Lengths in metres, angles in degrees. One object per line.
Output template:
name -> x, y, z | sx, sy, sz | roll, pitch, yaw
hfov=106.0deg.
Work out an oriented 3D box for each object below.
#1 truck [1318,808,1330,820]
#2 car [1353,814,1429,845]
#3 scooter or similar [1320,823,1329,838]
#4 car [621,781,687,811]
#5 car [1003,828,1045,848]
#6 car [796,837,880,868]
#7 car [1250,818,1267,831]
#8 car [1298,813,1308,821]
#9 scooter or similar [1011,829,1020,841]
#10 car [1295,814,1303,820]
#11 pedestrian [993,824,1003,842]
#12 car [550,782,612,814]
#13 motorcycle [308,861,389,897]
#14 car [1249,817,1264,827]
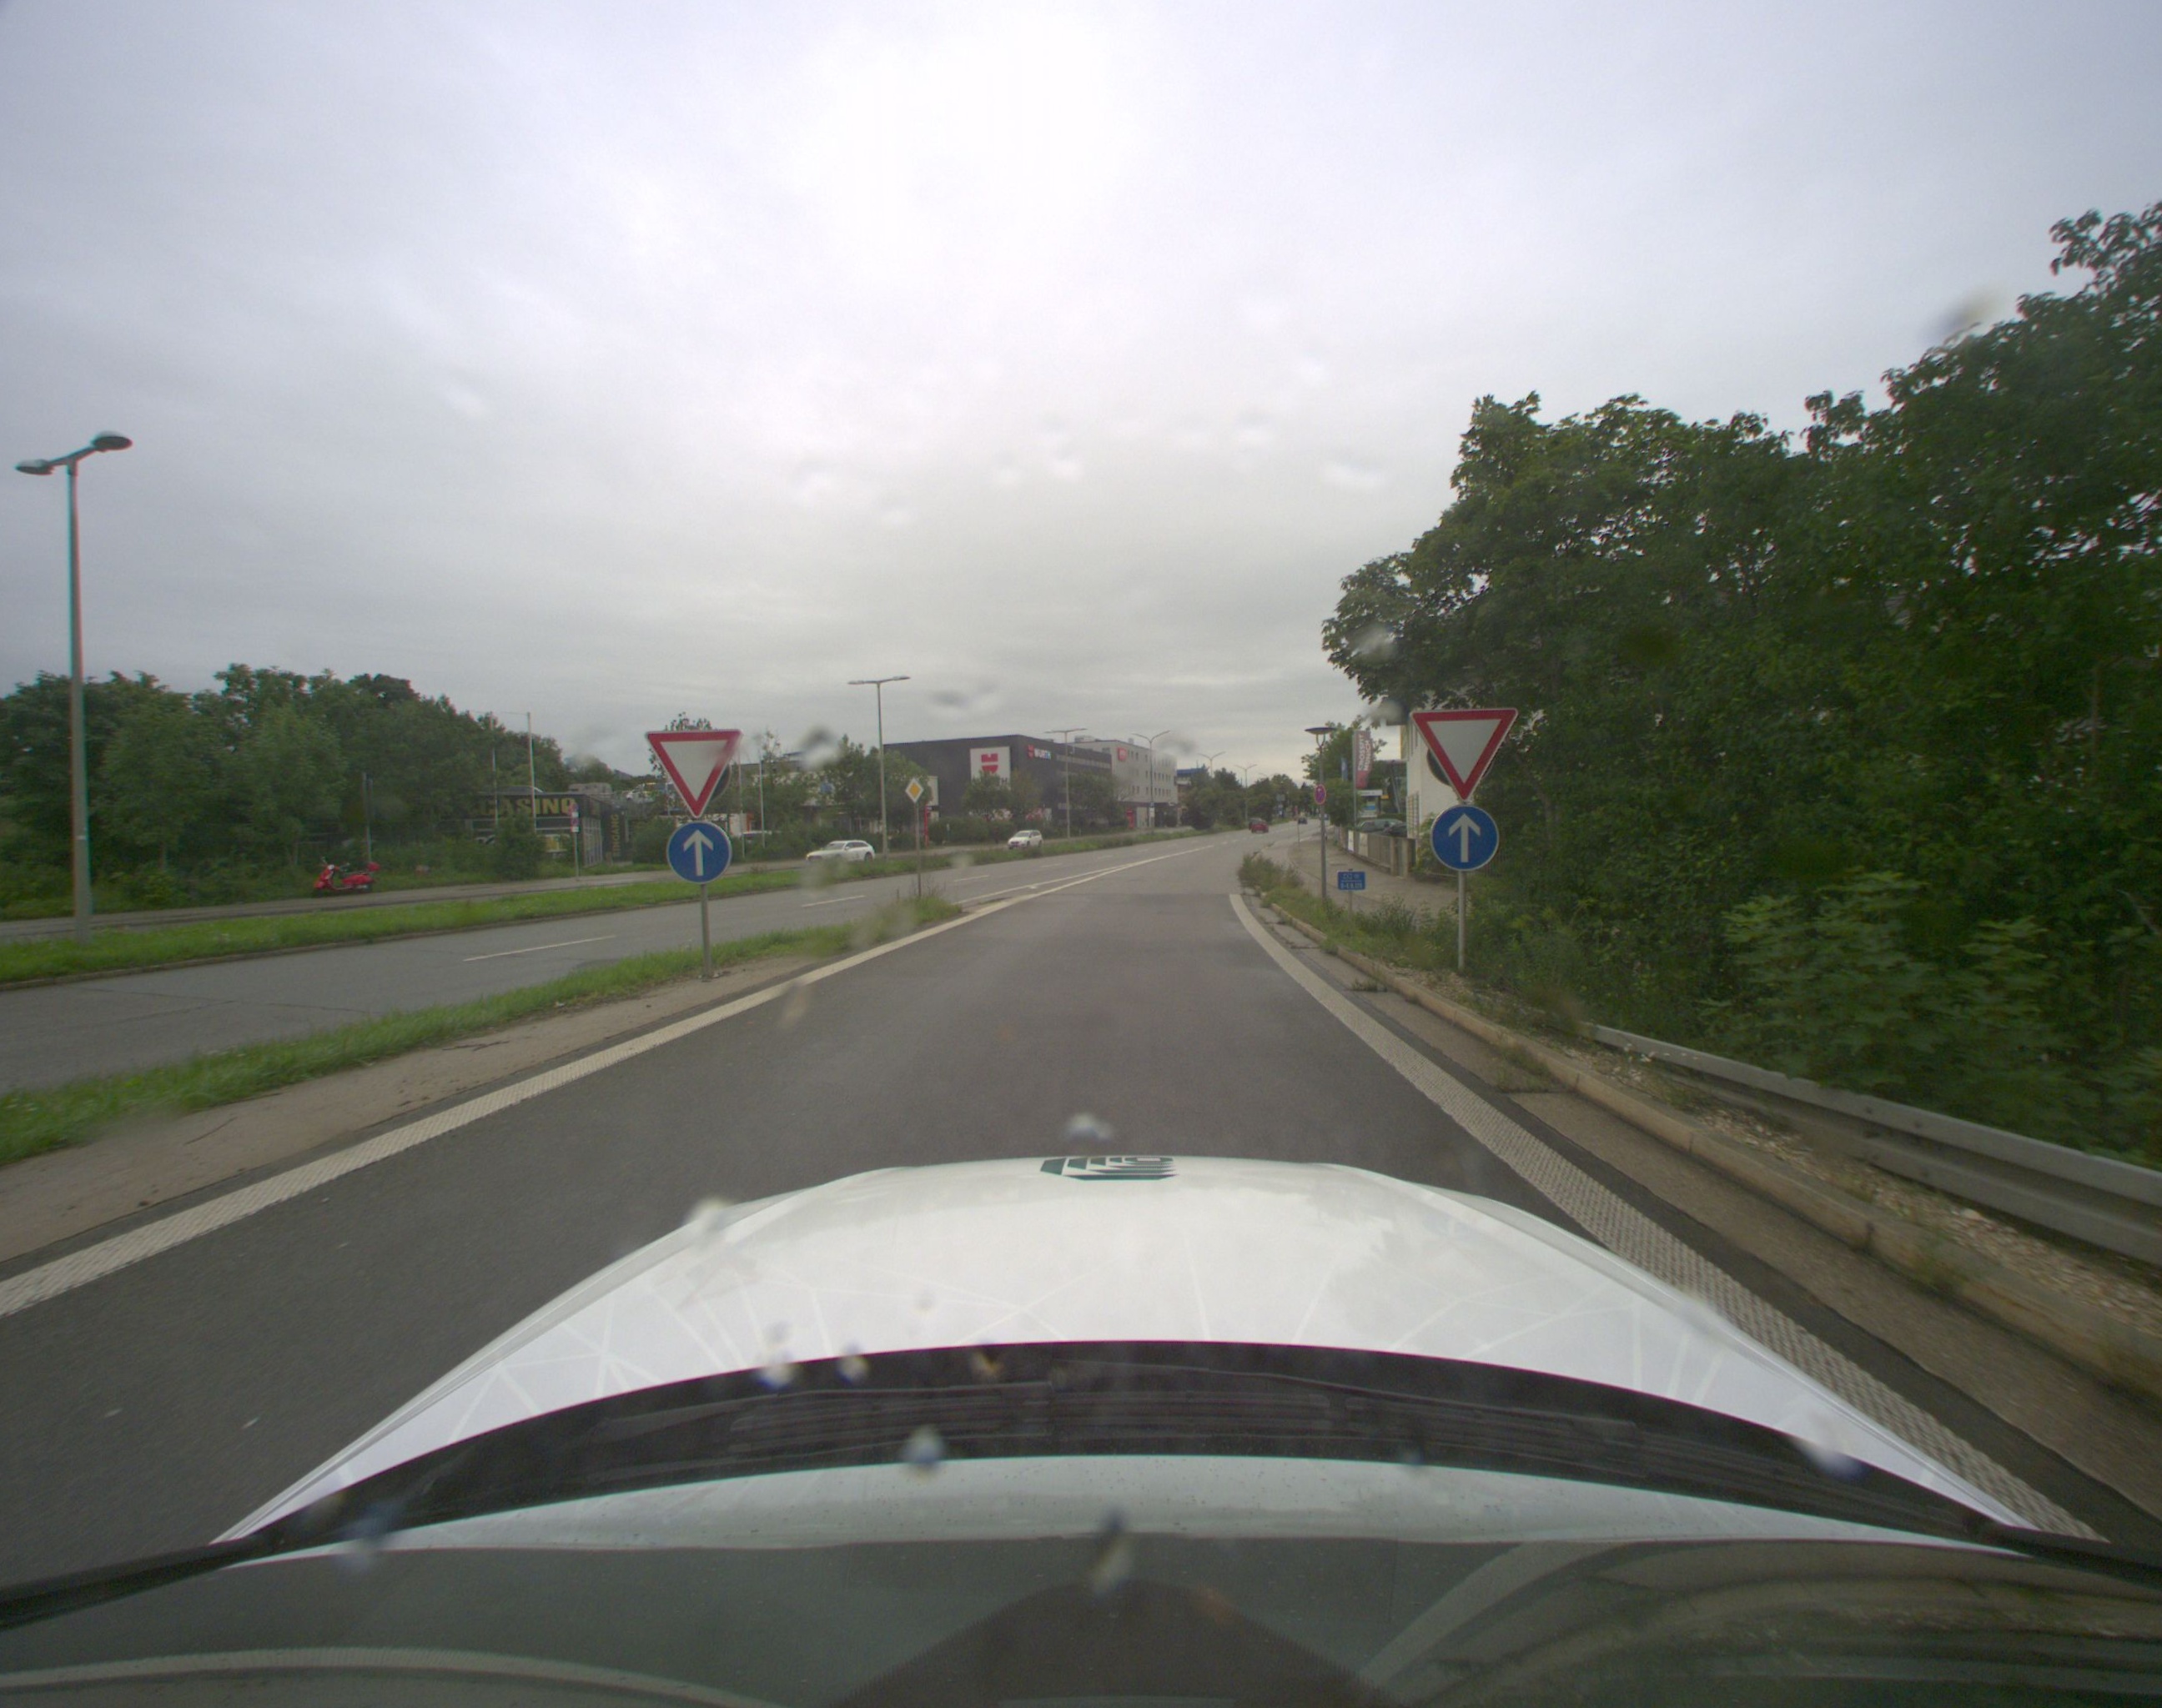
truck -> 68.455, -11.183, 229.268 | 2.944, 3.284, 7.956 | -1, 3, 19
car -> 18.306, -1.444, 48.284 | 4.064, 1.725, 1.936 | -1, 2, 17
scooter or similar -> 19.573, -1.880, 65.488 | 0.395, 1.222, 1.643 | -4, 1, 7
car -> -35.519, -4.820, 67.807 | 4.742, 2.014, 2.146 | -3, -1, 20
car -> -4.987, -1.442, 72.491 | 1.977, 1.572, 4.598 | -1, 2, 20
car -> -14.198, -0.131, 47.979 | 1.977, 1.572, 5.145 | -1, 2, 20
car -> 22.718, -3.815, 104.198 | 1.848, 1.617, 4.019 | 0, 2, 17
car -> 44.951, -7.510, 164.931 | 1.789, 1.432, 4.020 | -1, 2, 18
scooter or similar -> -6.886, -2.004, 85.762 | 0.442, 1.227, 1.394 | -1, 2, 18
car -> 58.553, -9.918, 218.324 | 1.789, 1.432, 4.020 | -1, 2, 18
pedestrian -> -8.165, -2.085, 80.531 | 0.617, 1.829, 0.821 | -1, 3, 20
car -> -44.640, -4.976, 72.705 | 4.742, 2.370, 2.146 | -3, -1, 20
motorcycle -> -27.075, 0.921, 30.168 | 0.529, 1.176, 2.207 | -1, 2, 19
car -> 26.223, -4.770, 121.486 | 1.789, 1.432, 4.020 | -1, 2, 18
